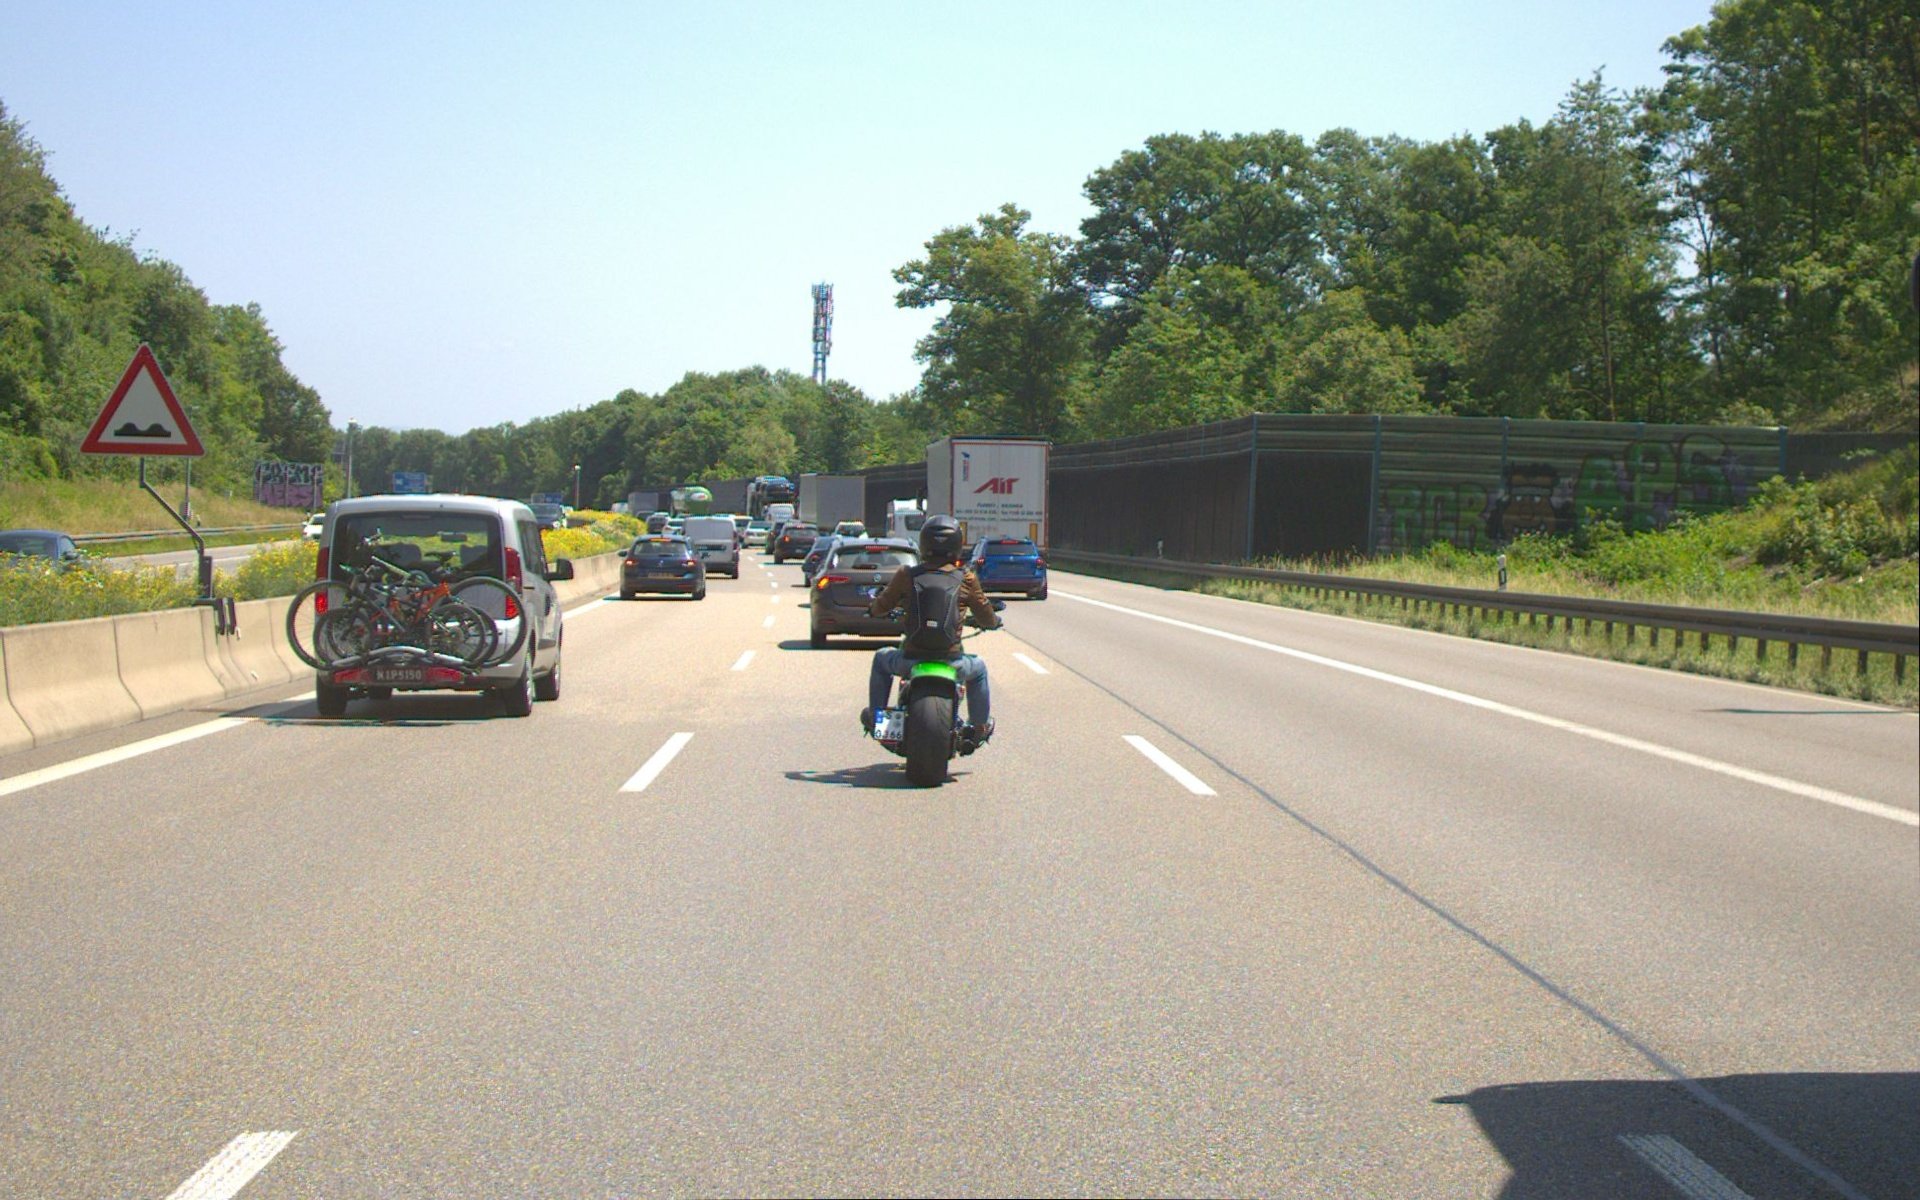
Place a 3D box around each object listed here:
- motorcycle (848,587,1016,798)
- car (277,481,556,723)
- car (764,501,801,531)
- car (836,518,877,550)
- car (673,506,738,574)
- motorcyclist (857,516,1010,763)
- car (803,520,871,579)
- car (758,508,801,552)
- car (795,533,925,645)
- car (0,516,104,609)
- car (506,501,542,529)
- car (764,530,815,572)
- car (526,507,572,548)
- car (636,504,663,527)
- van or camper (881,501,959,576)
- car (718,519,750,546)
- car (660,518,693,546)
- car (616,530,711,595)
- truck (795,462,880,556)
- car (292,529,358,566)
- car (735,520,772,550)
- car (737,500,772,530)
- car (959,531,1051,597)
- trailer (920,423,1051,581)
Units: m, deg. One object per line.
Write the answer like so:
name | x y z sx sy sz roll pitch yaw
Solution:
motorcycle | -0.150 0.536 21.519 0.964 1.144 2.812 1 2 1
car | -4.496 -0.003 29.026 1.899 1.867 4.413 1 0 -3
car | -11.511 -5.424 222.916 2.107 1.870 4.001 1 0 -6
car | -5.275 -3.347 174.761 1.993 1.568 4.001 1 0 -3
car | -7.703 -1.800 104.292 1.791 2.007 3.642 1 0 -2
motorcyclist | -0.145 0.228 21.458 0.899 1.470 1.872 1 0 1
car | -3.318 -1.347 93.039 1.779 1.547 3.585 1 0 -2
car | -8.466 -3.272 161.002 1.911 2.007 3.691 1 0 -5
car | -1.403 -0.166 46.940 1.662 1.448 3.869 1 0 -3
car | -16.459 -0.666 60.198 1.993 1.566 4.000 1 0 -1
car | -27.756 -5.404 218.839 1.993 1.685 4.401 1 0 -3
car | -6.744 -1.934 135.975 1.993 1.634 4.000 1 0 -3
car | -20.535 -3.619 171.942 1.993 2.007 4.421 1 0 -3
car | -21.389 -5.813 236.717 1.832 1.491 3.744 1 0 -6
van or camper | -1.592 -2.344 133.275 2.685 2.803 6.804 1 0 -3
car | -13.120 -3.892 199.508 1.832 1.491 3.744 1 0 -4
car | -16.010 -3.839 194.229 1.832 1.491 3.744 1 0 -4
car | -6.528 -0.817 76.058 1.993 1.382 4.001 1 0 -4
truck | -6.701 -4.872 186.482 3.802 4.943 8.953 1 0 -7
car | -25.068 -2.066 135.825 1.993 1.437 4.172 1 0 -2
car | -10.808 -3.400 179.573 1.832 1.491 3.744 1 0 -4
car | -13.677 -5.623 228.359 2.107 1.870 4.001 1 0 -6
car | 1.023 -0.844 80.540 1.650 1.477 4.482 1 1 -6
trailer | 0.567 -2.693 95.008 2.885 4.024 13.797 1 1 -2
